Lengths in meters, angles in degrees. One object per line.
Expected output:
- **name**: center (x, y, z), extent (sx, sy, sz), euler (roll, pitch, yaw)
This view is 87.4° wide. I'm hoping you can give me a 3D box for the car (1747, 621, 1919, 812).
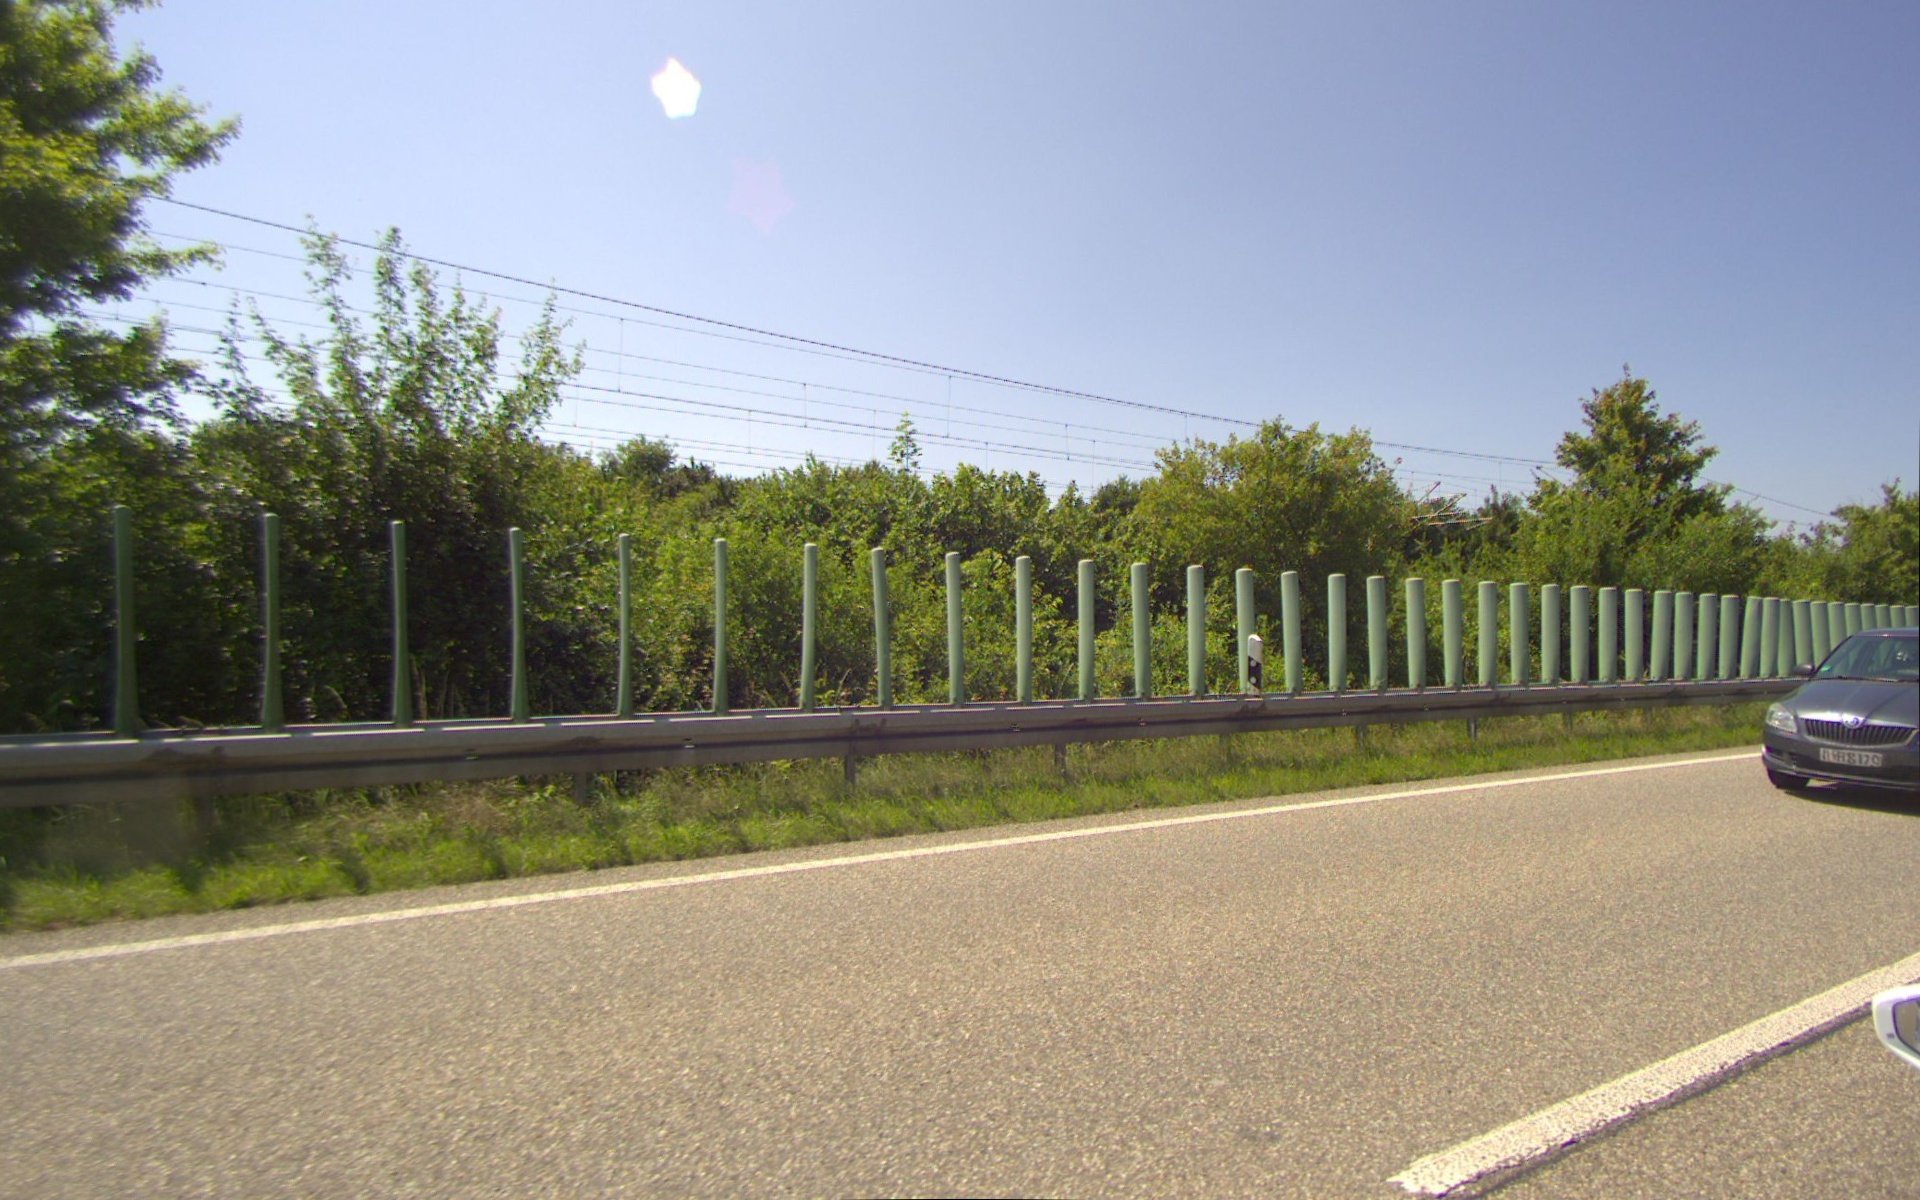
- **car**: center (9.028, 0.973, 9.244), extent (3.635, 1.499, 1.640), euler (1, 0, -31)
